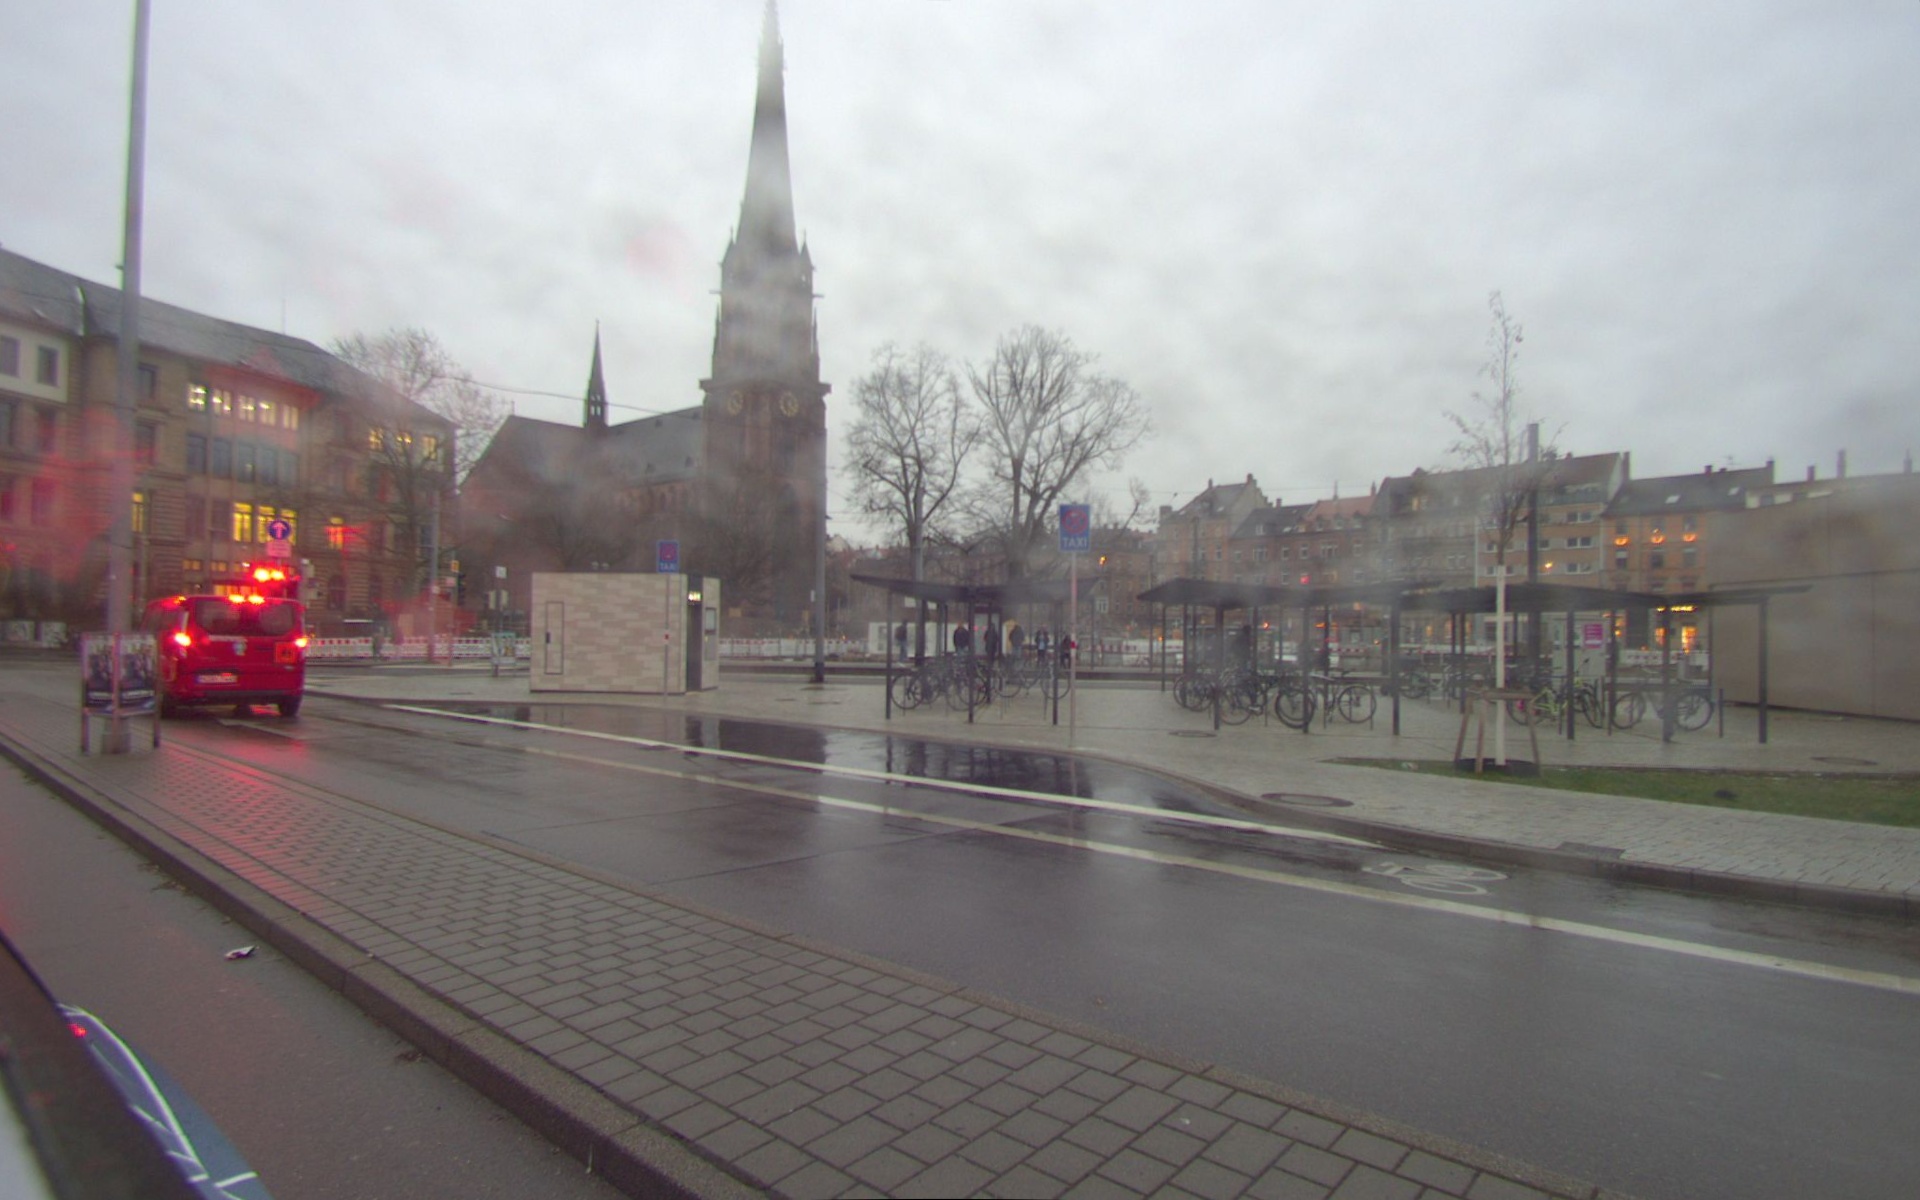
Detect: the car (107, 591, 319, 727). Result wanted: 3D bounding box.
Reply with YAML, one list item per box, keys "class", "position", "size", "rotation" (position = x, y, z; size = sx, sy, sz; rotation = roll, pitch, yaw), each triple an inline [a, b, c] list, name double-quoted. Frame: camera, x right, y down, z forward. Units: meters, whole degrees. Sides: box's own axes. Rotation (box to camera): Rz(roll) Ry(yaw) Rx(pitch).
- class: "car"
  position: [-13.170, 0.993, 17.741]
  size: [4.640, 2.086, 1.904]
  rotation: [-1, -4, 40]

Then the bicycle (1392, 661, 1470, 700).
- class: "bicycle"
  position: [11.616, 1.989, 24.994]
  size: [1.672, 0.898, 0.474]
  rotation: [1, -1, 5]

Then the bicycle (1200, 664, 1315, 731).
- class: "bicycle"
  position: [5.251, 1.719, 17.959]
  size: [1.905, 1.078, 0.473]
  rotation: [1, -1, 11]

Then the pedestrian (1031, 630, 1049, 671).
- class: "pedestrian"
  position: [3.028, 1.909, 38.334]
  size: [0.580, 1.513, 0.675]
  rotation: [-1, 0, -1]

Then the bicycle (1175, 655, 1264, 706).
- class: "bicycle"
  position: [5.844, 1.807, 22.852]
  size: [1.905, 1.078, 0.473]
  rotation: [1, -1, 11]

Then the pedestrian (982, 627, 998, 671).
- class: "pedestrian"
  position: [1.142, 1.858, 38.654]
  size: [0.556, 1.664, 0.540]
  rotation: [-1, 0, -1]

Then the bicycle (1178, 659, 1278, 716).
- class: "bicycle"
  position: [5.439, 1.773, 20.620]
  size: [1.905, 1.078, 0.473]
  rotation: [1, -1, 11]

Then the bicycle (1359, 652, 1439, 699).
- class: "bicycle"
  position: [11.179, 1.923, 25.805]
  size: [1.780, 1.116, 0.473]
  rotation: [1, -1, 11]

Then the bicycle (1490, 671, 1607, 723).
- class: "bicycle"
  position: [11.362, 1.860, 19.574]
  size: [1.905, 0.898, 0.473]
  rotation: [1, -1, 11]

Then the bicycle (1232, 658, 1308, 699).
- class: "bicycle"
  position: [7.657, 1.940, 25.073]
  size: [1.729, 0.946, 0.474]
  rotation: [1, -1, 7]

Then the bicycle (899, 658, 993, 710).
- class: "bicycle"
  position: [-0.293, 1.733, 21.106]
  size: [1.905, 0.993, 0.473]
  rotation: [1, -1, 11]

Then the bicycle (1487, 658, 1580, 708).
- class: "bicycle"
  position: [13.247, 1.907, 23.420]
  size: [1.810, 1.081, 0.474]
  rotation: [1, -1, 8]

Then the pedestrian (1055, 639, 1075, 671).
- class: "pedestrian"
  position: [3.975, 2.071, 38.326]
  size: [0.610, 1.165, 0.806]
  rotation: [-1, 0, -1]

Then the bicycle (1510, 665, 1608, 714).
- class: "bicycle"
  position: [12.895, 1.917, 21.833]
  size: [1.751, 0.963, 0.473]
  rotation: [1, -1, 11]

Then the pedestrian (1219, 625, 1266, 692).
- class: "pedestrian"
  position: [7.676, 1.588, 27.563]
  size: [1.054, 1.778, 1.009]
  rotation: [0, -3, 7]

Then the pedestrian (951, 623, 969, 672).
- class: "pedestrian"
  position: [-0.002, 1.801, 38.580]
  size: [0.619, 1.808, 0.672]
  rotation: [-1, 0, -1]

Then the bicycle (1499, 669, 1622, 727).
- class: "bicycle"
  position: [11.121, 1.812, 18.787]
  size: [1.905, 0.983, 0.473]
  rotation: [1, -1, 11]

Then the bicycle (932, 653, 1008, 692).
- class: "bicycle"
  position: [0.266, 1.867, 26.128]
  size: [1.905, 0.917, 0.473]
  rotation: [1, -1, 11]

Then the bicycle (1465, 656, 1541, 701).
- class: "bicycle"
  position: [13.227, 1.914, 24.667]
  size: [1.551, 1.044, 0.521]
  rotation: [1, -1, 1]

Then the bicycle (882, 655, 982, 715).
- class: "bicycle"
  position: [-0.543, 1.652, 19.869]
  size: [1.905, 1.078, 0.473]
  rotation: [1, -1, 11]

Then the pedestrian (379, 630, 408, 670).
- class: "pedestrian"
  position: [-27.676, 2.442, 49.474]
  size: [0.960, 1.915, 0.674]
  rotation: [1, -2, -1]

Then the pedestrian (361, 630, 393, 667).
- class: "pedestrian"
  position: [-27.312, 2.279, 47.417]
  size: [1.201, 1.673, 0.767]
  rotation: [-1, 0, 25]

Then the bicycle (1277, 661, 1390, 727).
- class: "bicycle"
  position: [6.940, 1.733, 18.869]
  size: [1.905, 1.129, 0.473]
  rotation: [1, -1, 11]

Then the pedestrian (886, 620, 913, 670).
- class: "pedestrian"
  position: [-2.268, 1.670, 37.784]
  size: [0.819, 1.808, 0.667]
  rotation: [-1, 0, 14]

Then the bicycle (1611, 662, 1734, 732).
- class: "bicycle"
  position: [12.684, 1.723, 18.049]
  size: [1.731, 1.165, 0.617]
  rotation: [1, -1, 1]

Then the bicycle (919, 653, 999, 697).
- class: "bicycle"
  position: [-0.020, 1.828, 24.871]
  size: [1.905, 0.993, 0.473]
  rotation: [1, -1, 11]

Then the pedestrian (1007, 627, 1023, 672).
- class: "pedestrian"
  position: [2.062, 1.855, 38.116]
  size: [0.543, 1.648, 0.571]
  rotation: [-1, 0, -1]

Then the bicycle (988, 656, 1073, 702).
- class: "bicycle"
  position: [1.634, 1.820, 23.425]
  size: [1.905, 0.993, 0.473]
  rotation: [1, -1, 11]

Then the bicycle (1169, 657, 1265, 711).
- class: "bicycle"
  position: [5.426, 1.771, 21.403]
  size: [1.899, 1.078, 0.474]
  rotation: [1, -1, 2]
